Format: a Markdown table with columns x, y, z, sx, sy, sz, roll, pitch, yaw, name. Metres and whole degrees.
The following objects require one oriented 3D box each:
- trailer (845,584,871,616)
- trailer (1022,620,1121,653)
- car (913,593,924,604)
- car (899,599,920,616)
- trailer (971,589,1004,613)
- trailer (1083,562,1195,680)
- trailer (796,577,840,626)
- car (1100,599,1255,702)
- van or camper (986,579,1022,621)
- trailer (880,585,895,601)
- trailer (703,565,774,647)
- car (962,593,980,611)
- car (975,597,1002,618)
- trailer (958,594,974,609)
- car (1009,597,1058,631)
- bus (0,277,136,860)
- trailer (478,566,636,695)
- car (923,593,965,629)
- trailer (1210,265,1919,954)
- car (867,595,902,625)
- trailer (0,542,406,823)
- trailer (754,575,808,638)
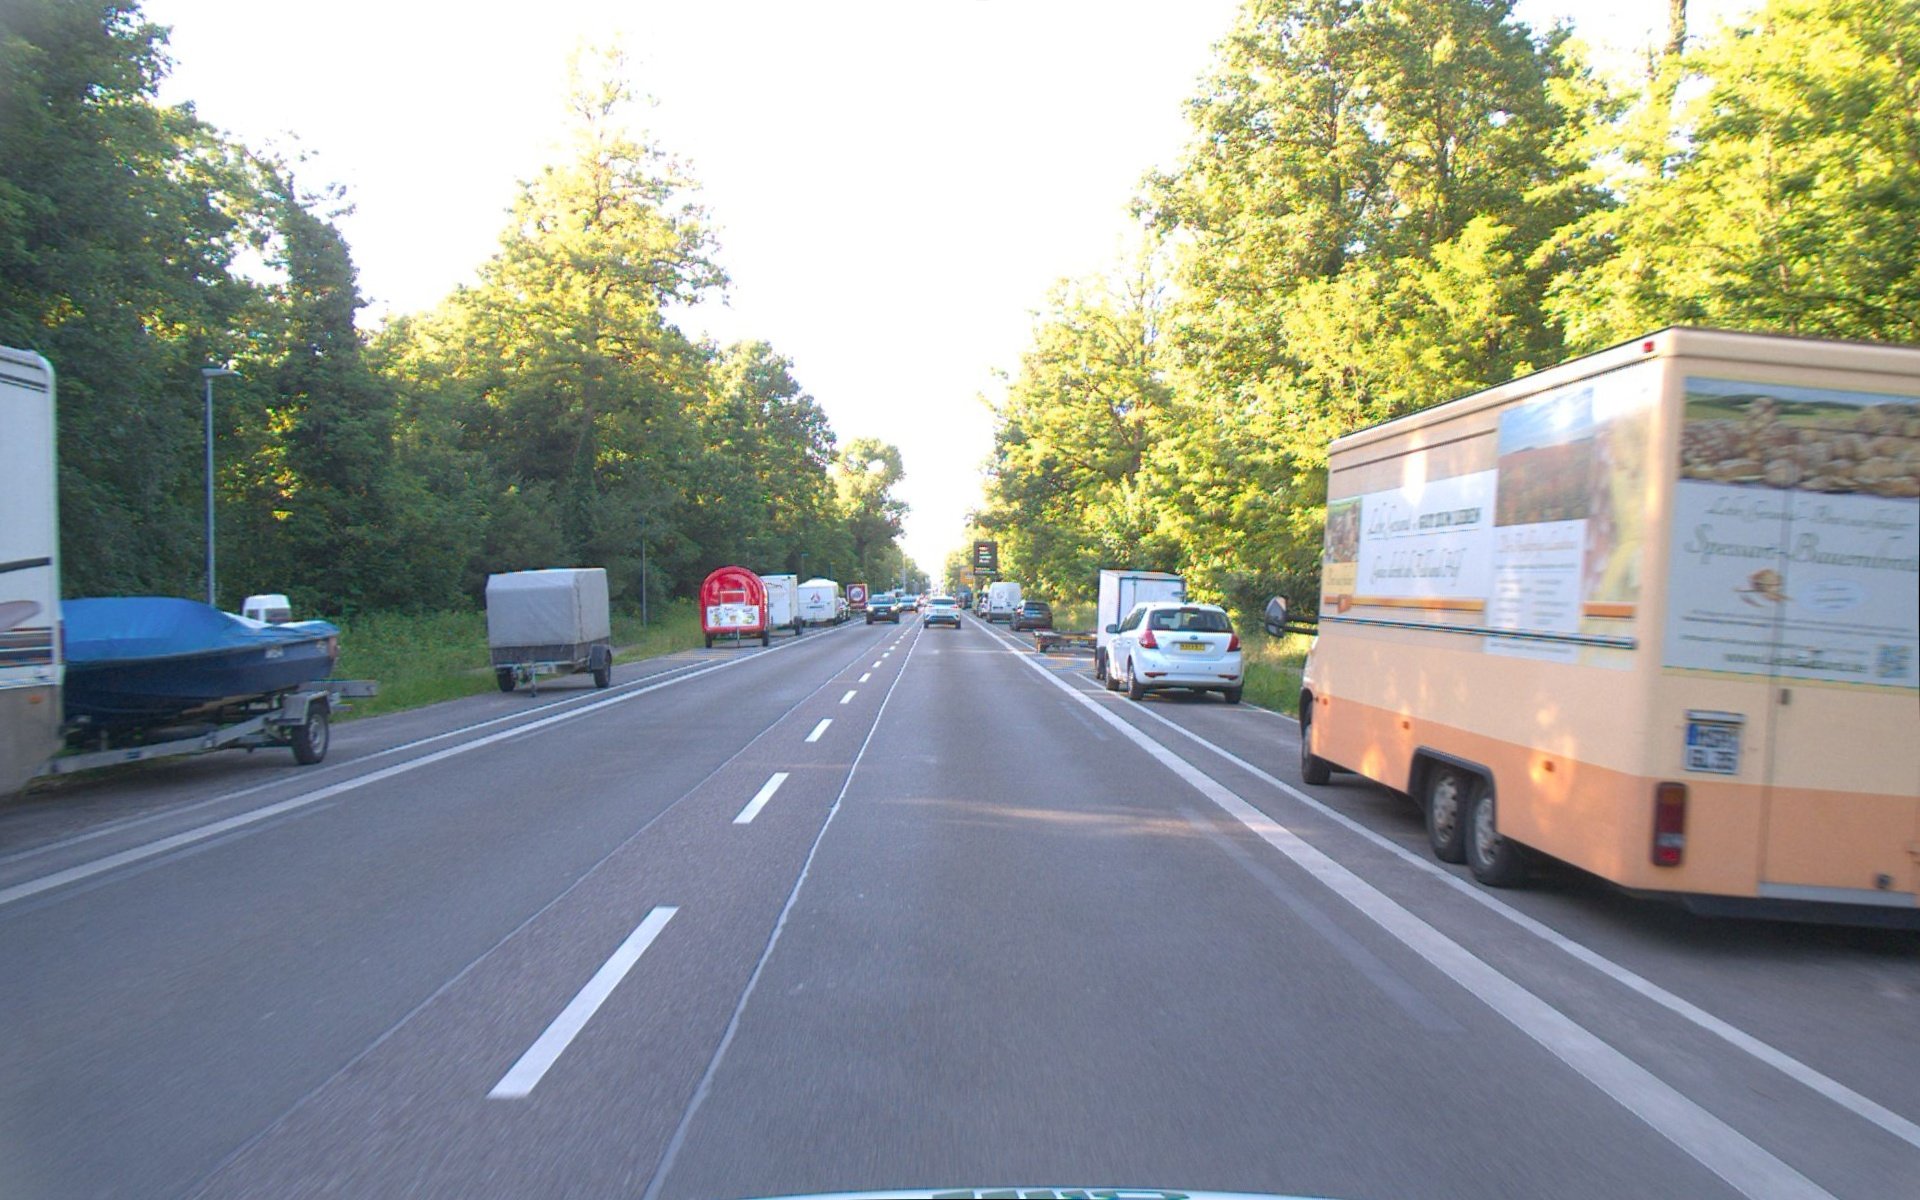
| x | y | z | sx | sy | sz | roll | pitch | yaw | name |
| --- | --- | --- | --- | --- | --- | --- | --- | --- | --- |
| -8.553 | -0.024 | 138.721 | 1.953 | 2.667 | 4.085 | 0 | 0 | -1 | trailer |
| 3.098 | 1.020 | 47.147 | 2.383 | 0.812 | 5.658 | 1 | 0 | -1 | trailer |
| -5.918 | -0.245 | 234.874 | 1.571 | 1.445 | 3.518 | -1 | 0 | -1 | car |
| -4.675 | 0.673 | 153.404 | 1.782 | 1.559 | 4.529 | -1 | 0 | -1 | car |
| 2.511 | 0.083 | 150.185 | 1.921 | 2.058 | 3.845 | 0 | 0 | 19 | trailer |
| 3.496 | 0.393 | 32.840 | 1.719 | 2.199 | 3.538 | 0 | 0 | -2 | trailer |
| -7.699 | 0.092 | 90.206 | 2.300 | 2.573 | 4.341 | 0 | 0 | -4 | trailer |
| 3.431 | 0.748 | 26.891 | 1.849 | 1.493 | 4.568 | 1 | 0 | -1 | car |
| 2.681 | -0.013 | 101.483 | 2.082 | 2.526 | 6.304 | 0 | 0 | 0 | van or camper |
| -10.681 | -1.017 | 244.565 | 2.032 | 2.333 | 3.487 | -1 | 0 | 1 | trailer |
| -7.096 | 0.172 | 53.204 | 2.025 | 2.524 | 3.558 | 0 | 0 | -4 | trailer |
| 1.316 | 0.266 | 199.511 | 2.070 | 2.049 | 5.039 | 2 | 0 | 0 | car |
| 2.071 | 0.533 | 122.318 | 1.700 | 1.514 | 4.399 | 2 | 0 | -2 | car |
| 0.935 | 0.193 | 243.716 | 1.581 | 2.149 | 2.396 | 1 | 0 | 20 | trailer |
| 3.438 | 0.651 | 77.933 | 1.798 | 1.445 | 4.594 | 3 | 0 | -4 | car |
| -7.085 | -0.231 | 5.884 | 2.770 | 3.491 | 11.198 | 1 | 0 | -1 | bus |
| -6.965 | 0.496 | 28.939 | 1.815 | 2.049 | 3.561 | -2 | 0 | 0 | trailer |
| -0.786 | 0.511 | 80.334 | 1.953 | 1.668 | 3.999 | 0 | 0 | -1 | car |
| 4.201 | 0.110 | 12.064 | 2.862 | 2.891 | 9.879 | 3 | 0 | -2 | trailer |
| -4.263 | 0.575 | 93.670 | 1.781 | 1.614 | 4.458 | -1 | 0 | 0 | car |
| -7.126 | 0.552 | 14.649 | 2.379 | 1.948 | 6.263 | 1 | 0 | -1 | trailer |
| -7.282 | 0.254 | 67.556 | 2.025 | 2.524 | 3.558 | 0 | 0 | -4 | trailer |
